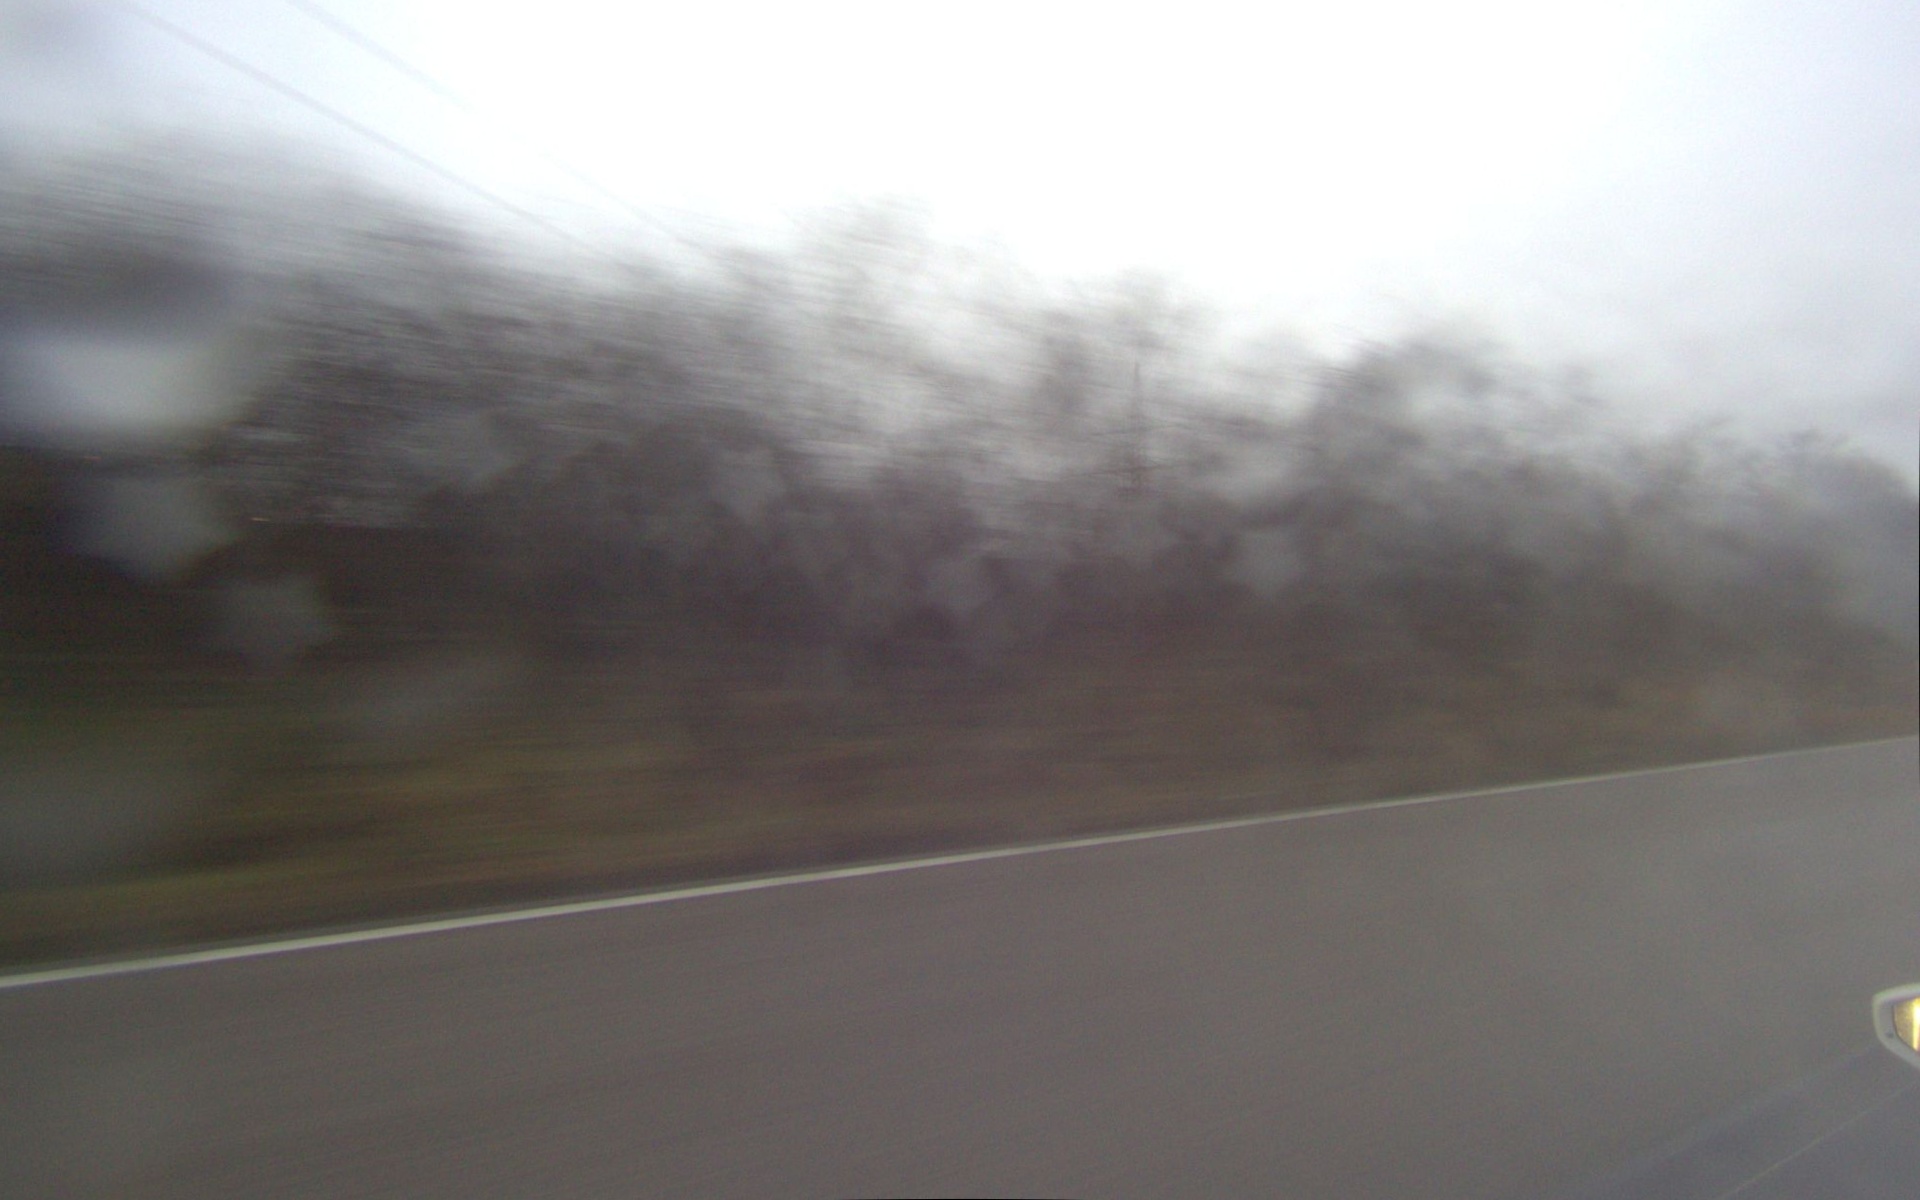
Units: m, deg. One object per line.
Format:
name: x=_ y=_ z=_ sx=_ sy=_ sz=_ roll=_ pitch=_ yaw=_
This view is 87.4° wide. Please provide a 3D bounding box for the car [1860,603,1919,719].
car: x=16.896 y=1.022 z=16.504 sx=3.953 sy=1.808 sz=1.984 roll=2 pitch=0 yaw=-30
